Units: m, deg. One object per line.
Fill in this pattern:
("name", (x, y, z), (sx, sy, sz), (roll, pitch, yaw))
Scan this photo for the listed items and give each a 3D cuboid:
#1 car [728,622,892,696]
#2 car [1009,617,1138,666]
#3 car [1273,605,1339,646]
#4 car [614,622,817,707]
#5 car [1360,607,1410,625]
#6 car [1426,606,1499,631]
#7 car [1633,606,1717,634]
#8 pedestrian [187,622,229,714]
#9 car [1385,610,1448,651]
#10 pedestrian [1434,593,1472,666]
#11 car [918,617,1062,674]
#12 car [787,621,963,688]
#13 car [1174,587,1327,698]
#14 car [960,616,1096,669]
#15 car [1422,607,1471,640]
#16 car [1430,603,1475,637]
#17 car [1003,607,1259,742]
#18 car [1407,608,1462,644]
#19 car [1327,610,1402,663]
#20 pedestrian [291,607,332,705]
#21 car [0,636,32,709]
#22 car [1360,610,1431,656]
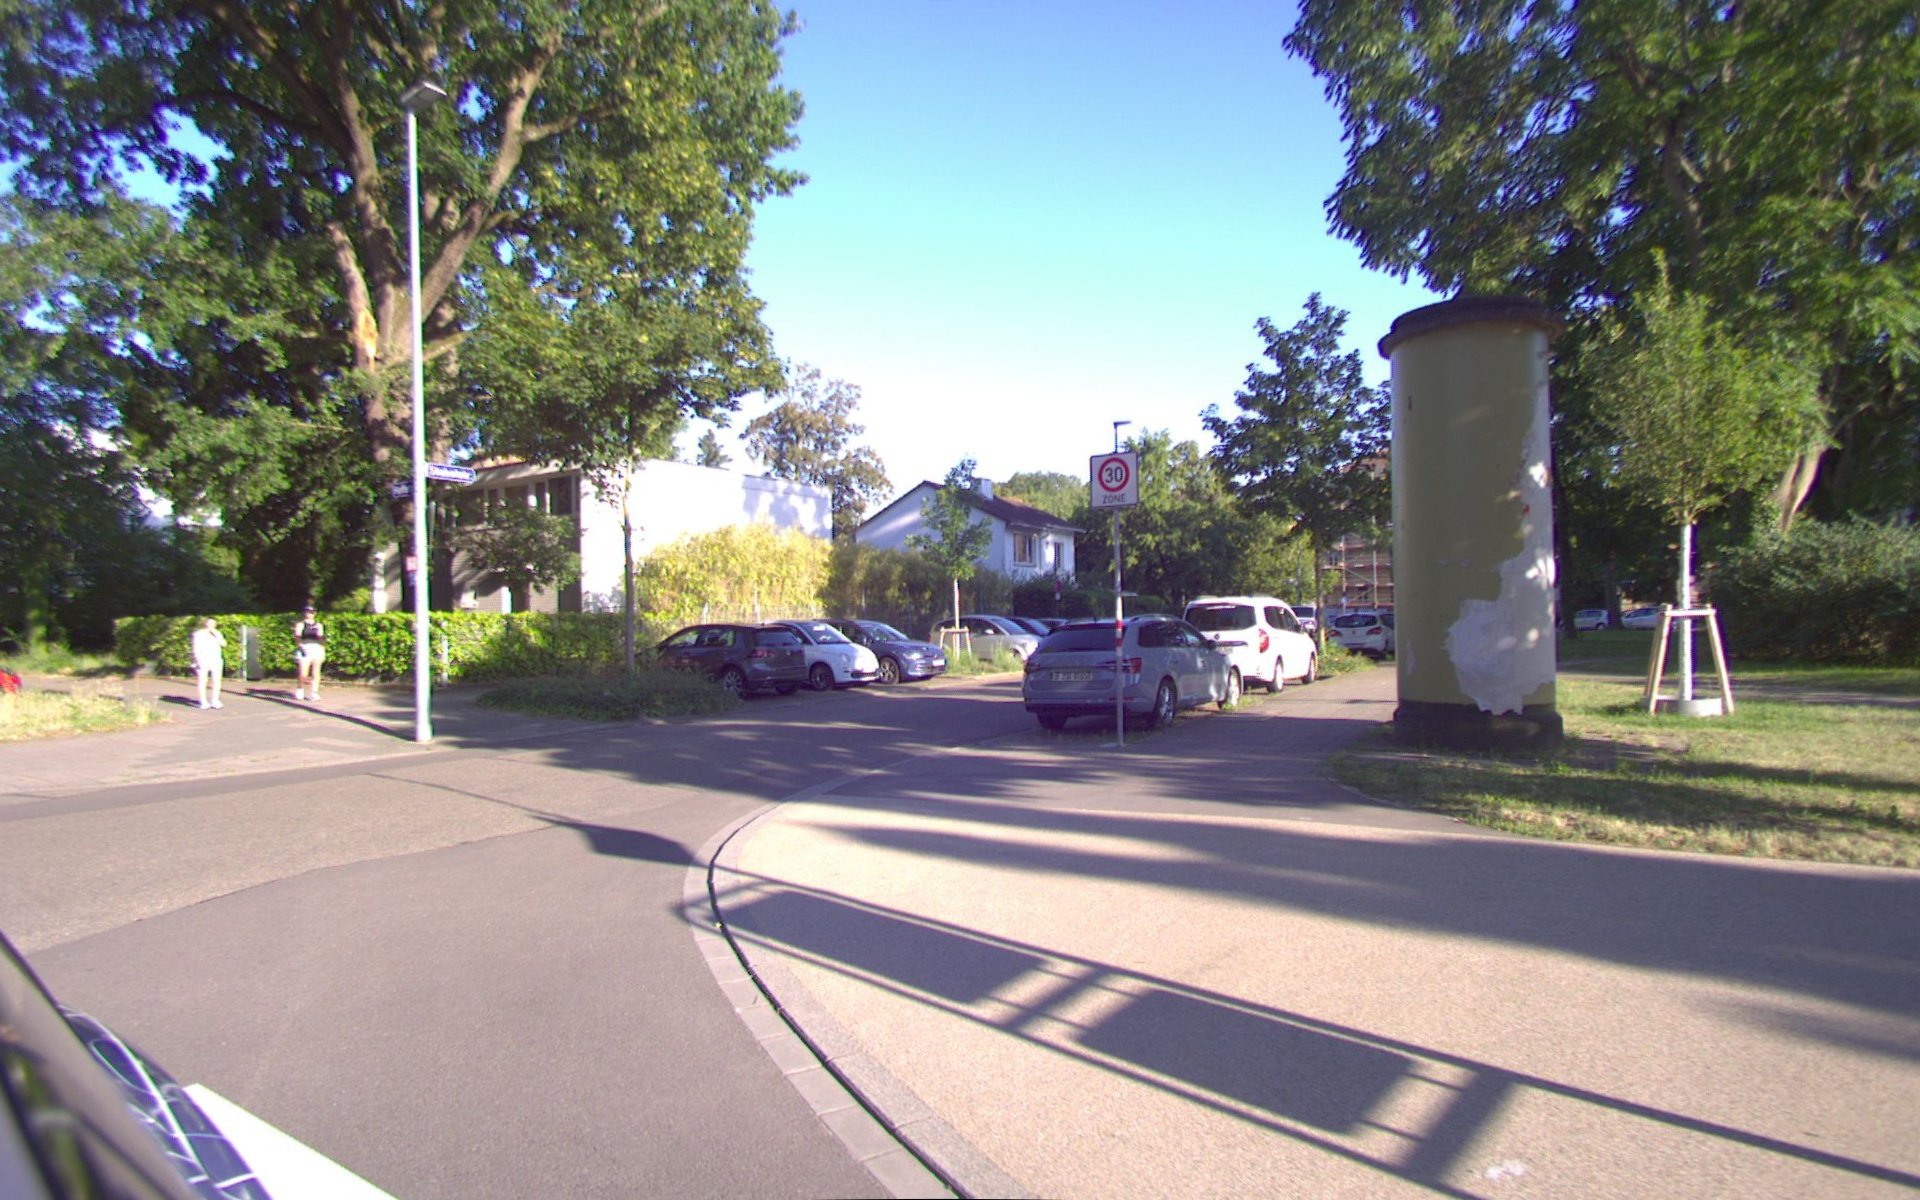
("car", (-3.344, 1.244, 22.456), (3.343, 1.502, 1.621), (-1, -1, 31))
("car", (3.751, 1.331, 33.528), (3.908, 1.549, 1.727), (-1, -1, 30))
("car", (17.277, 1.257, 50.384), (2.055, 1.945, 4.398), (-3, -2, 33))
("car", (-4.942, 1.268, 20.337), (3.986, 1.527, 1.628), (-2, -1, 32))
("car", (40.073, 1.519, 95.461), (3.993, 1.586, 1.805), (-3, -2, 37))
("car", (37.442, 1.388, 75.488), (2.245, 1.697, 4.528), (2, -3, -22))
("car", (41.489, 1.189, 58.793), (1.660, 1.509, 3.586), (-1, -2, -23))
("pedestrian", (-13.443, 1.202, 18.085), (0.665, 1.593, 0.430), (-3, -2, 37))
("car", (18.217, 1.191, 40.273), (1.713, 1.521, 3.637), (-3, -2, 33))
("pedestrian", (12.074, 0.715, 24.787), (0.714, 1.750, 0.739), (-2, -2, 32))
("car", (0.864, 1.292, 29.751), (3.908, 1.549, 1.727), (-1, -1, 30))
("car", (-2.114, 1.260, 24.641), (4.089, 1.468, 1.790), (-1, -1, 34))
("car", (5.810, 0.788, 19.921), (1.757, 1.931, 4.192), (-3, -2, 32))
("car", (2.125, 1.302, 31.861), (3.908, 1.549, 1.727), (-1, -1, 30))
("car", (24.053, 1.145, 49.999), (1.713, 1.521, 3.637), (-3, -2, 33))
("car", (26.586, 1.070, 54.552), (1.713, 1.696, 3.637), (-3, -2, 33))
("car", (2.617, 0.923, 14.369), (1.862, 1.570, 4.785), (-3, -2, 32))
("car", (21.121, 1.123, 44.982), (1.713, 1.521, 3.637), (-3, -2, 33))
("car", (12.723, 1.113, 31.752), (1.711, 1.520, 3.276), (-3, -1, 30))
("pedestrian", (-12.119, 1.035, 18.896), (0.665, 1.788, 0.430), (-3, -2, 37))
("car", (-20.234, 1.449, 19.147), (1.712, 1.431, 3.642), (-2, -2, 30))
("car", (15.523, 1.146, 35.963), (1.712, 1.521, 3.638), (-3, -2, 33))
